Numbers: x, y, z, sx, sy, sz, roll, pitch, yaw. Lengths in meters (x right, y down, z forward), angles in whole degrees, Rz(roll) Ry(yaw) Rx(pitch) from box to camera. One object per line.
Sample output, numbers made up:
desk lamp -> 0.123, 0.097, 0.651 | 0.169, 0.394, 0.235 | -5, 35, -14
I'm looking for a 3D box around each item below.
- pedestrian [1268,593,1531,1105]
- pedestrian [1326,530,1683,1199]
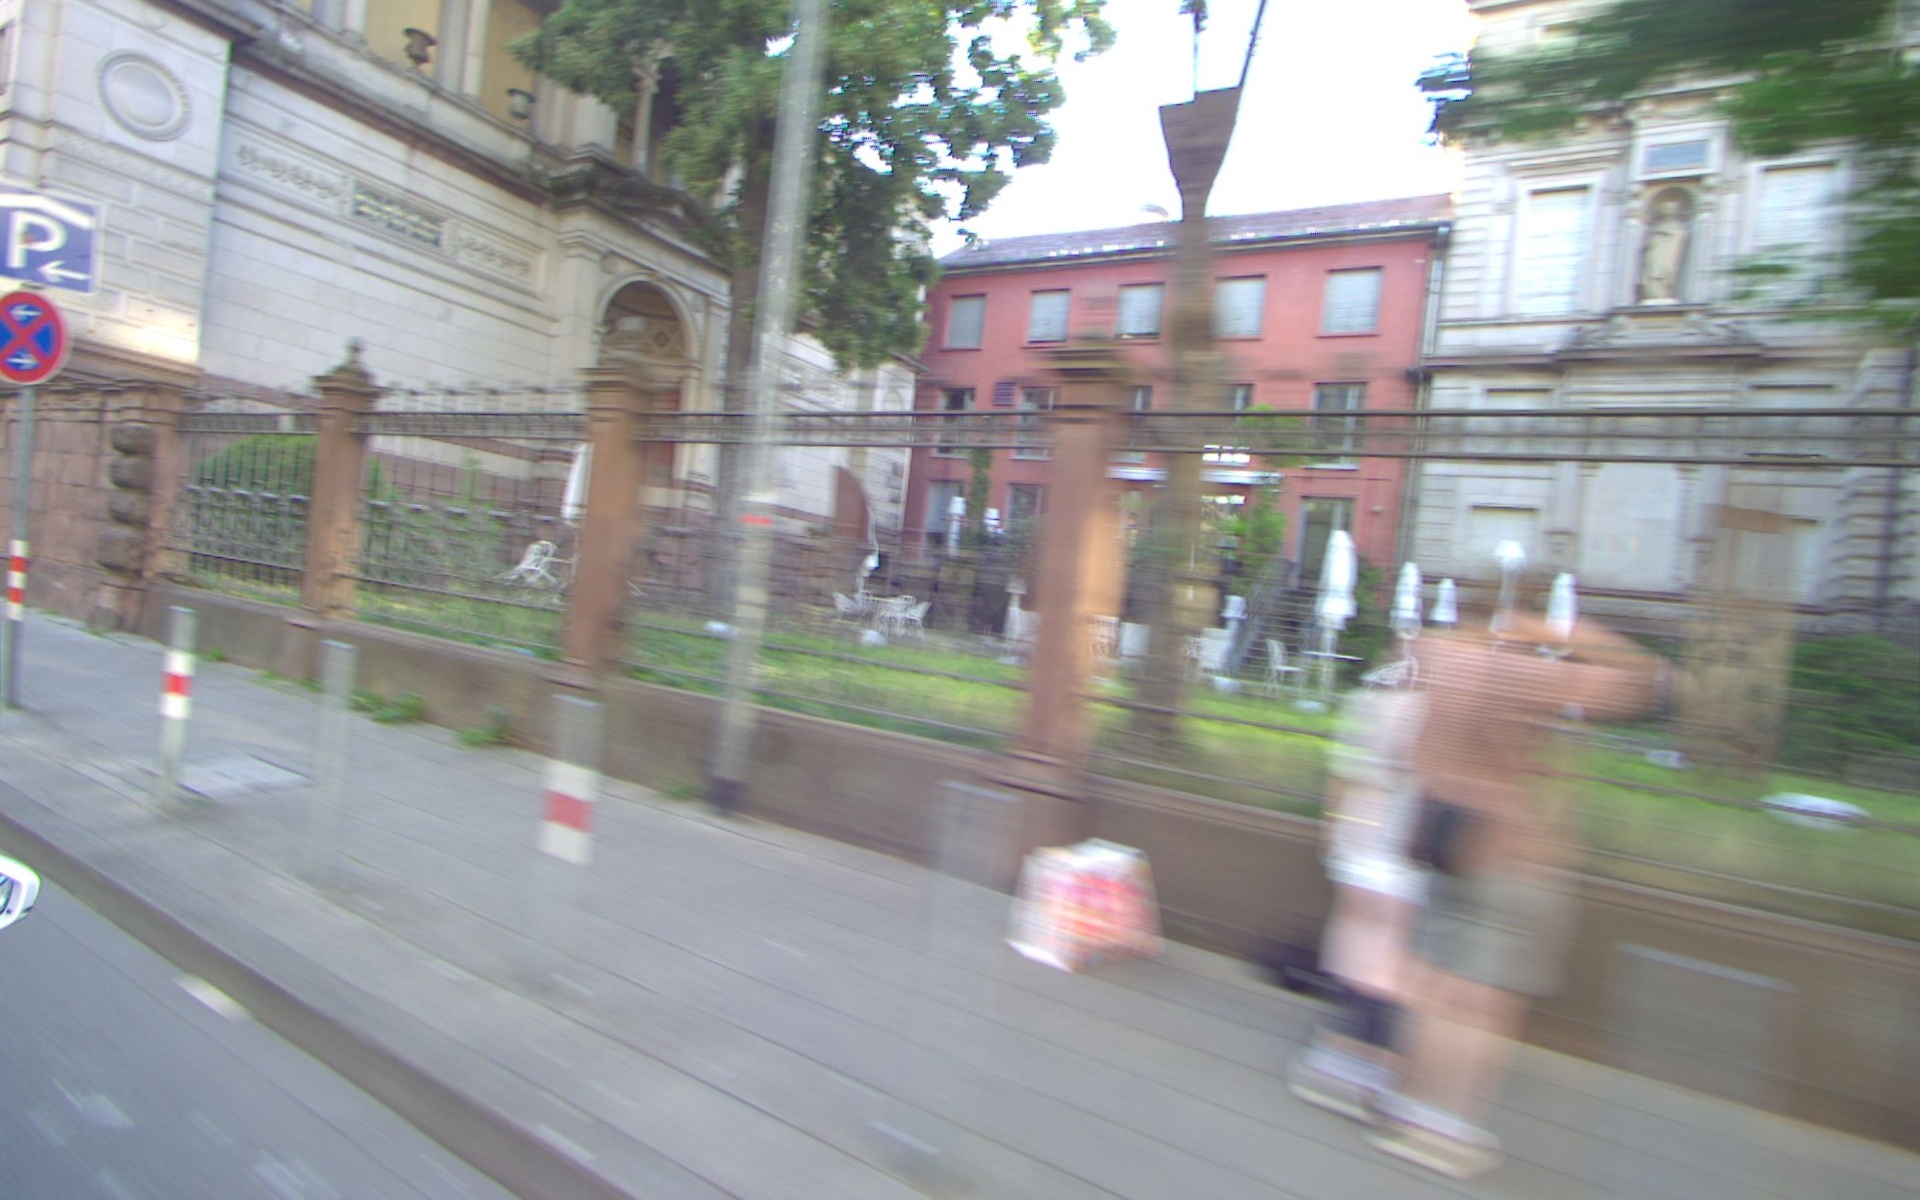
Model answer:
pedestrian -> 1.539, 0.777, 3.533 | 0.608, 1.519, 0.750 | 7, 2, 26
pedestrian -> 1.421, 0.694, 2.716 | 0.607, 1.680, 0.485 | 7, 2, 24
